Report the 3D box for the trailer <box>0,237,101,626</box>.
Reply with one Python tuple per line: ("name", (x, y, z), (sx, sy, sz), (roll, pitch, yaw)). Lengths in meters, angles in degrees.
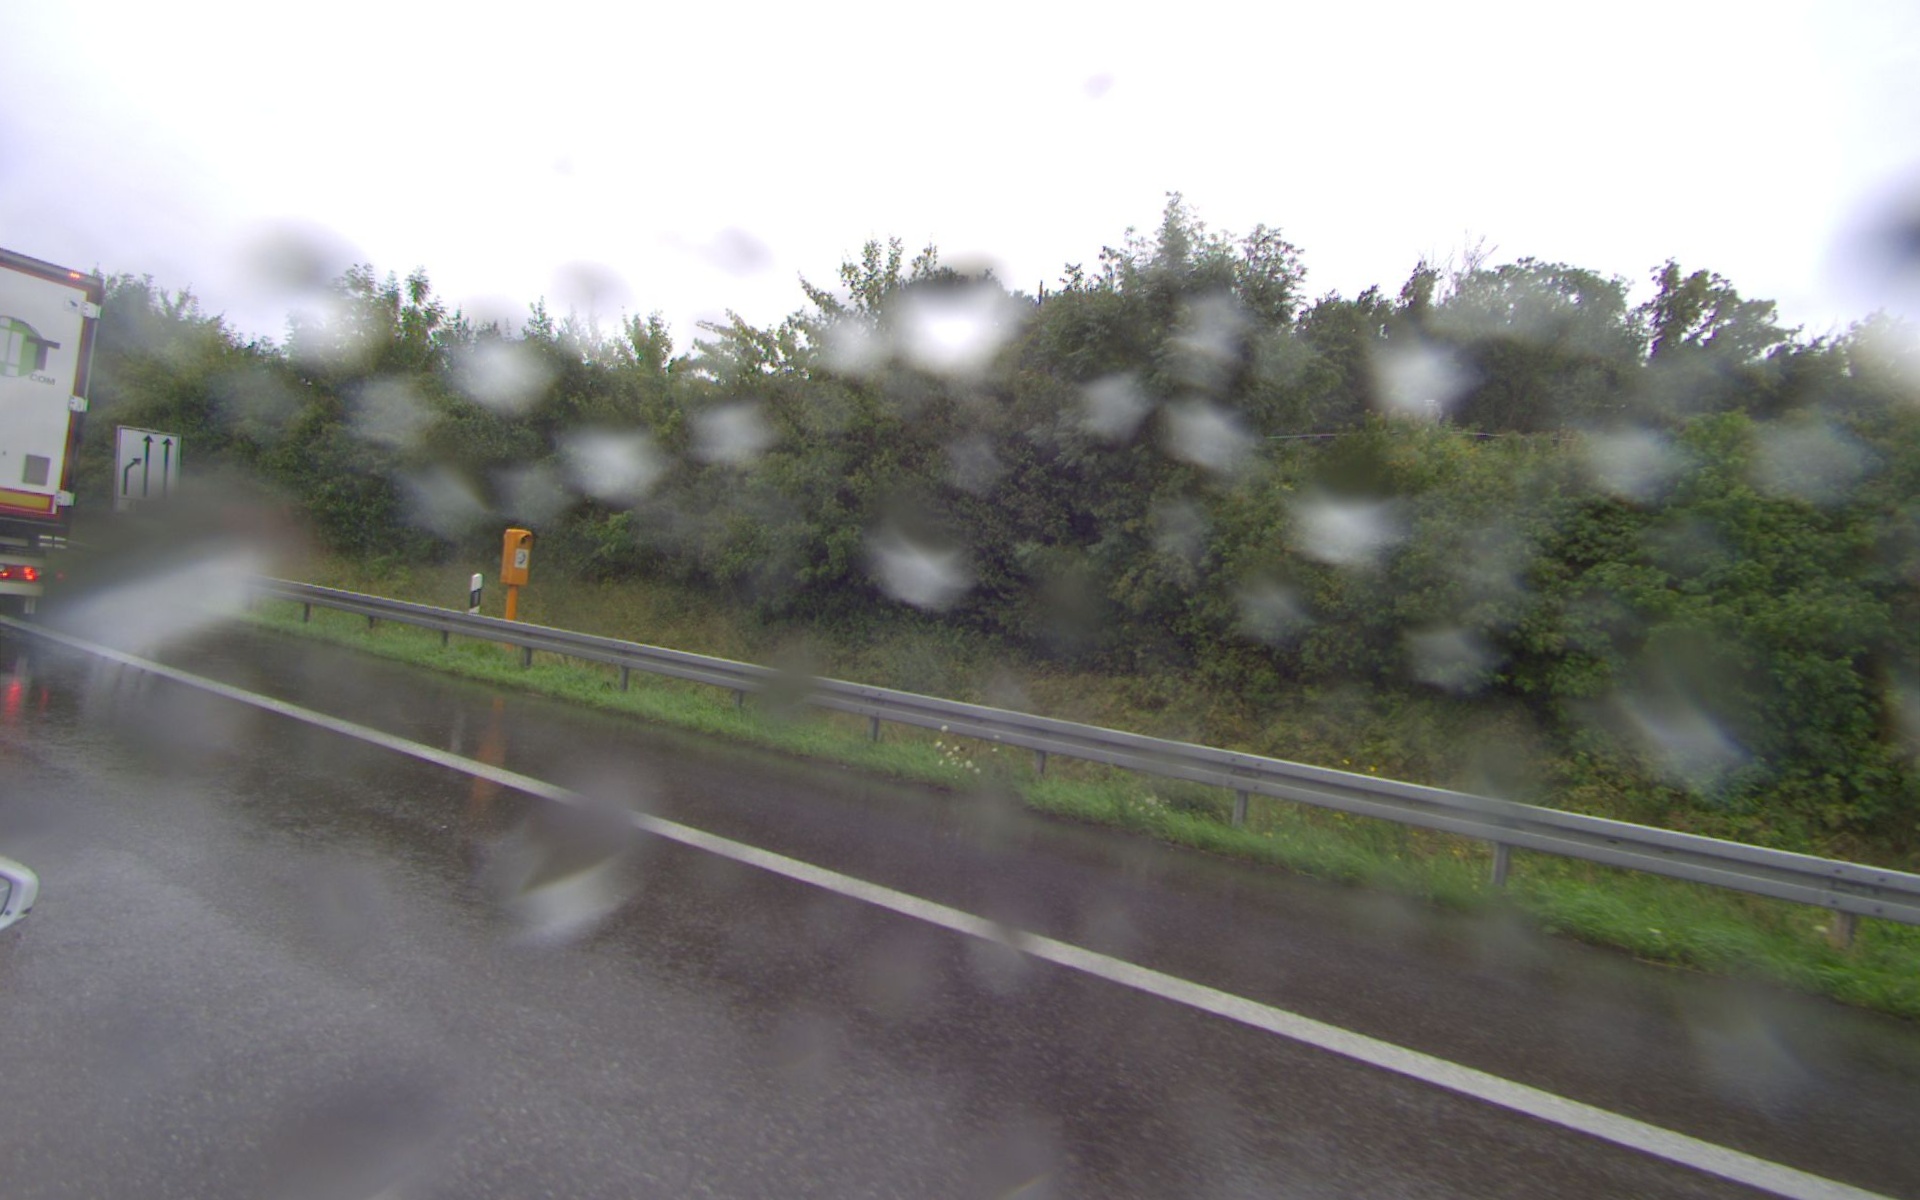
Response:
("trailer", (-16.654, -2.587, 13.911), (14.385, 4.061, 2.635), (7, 0, 31))
